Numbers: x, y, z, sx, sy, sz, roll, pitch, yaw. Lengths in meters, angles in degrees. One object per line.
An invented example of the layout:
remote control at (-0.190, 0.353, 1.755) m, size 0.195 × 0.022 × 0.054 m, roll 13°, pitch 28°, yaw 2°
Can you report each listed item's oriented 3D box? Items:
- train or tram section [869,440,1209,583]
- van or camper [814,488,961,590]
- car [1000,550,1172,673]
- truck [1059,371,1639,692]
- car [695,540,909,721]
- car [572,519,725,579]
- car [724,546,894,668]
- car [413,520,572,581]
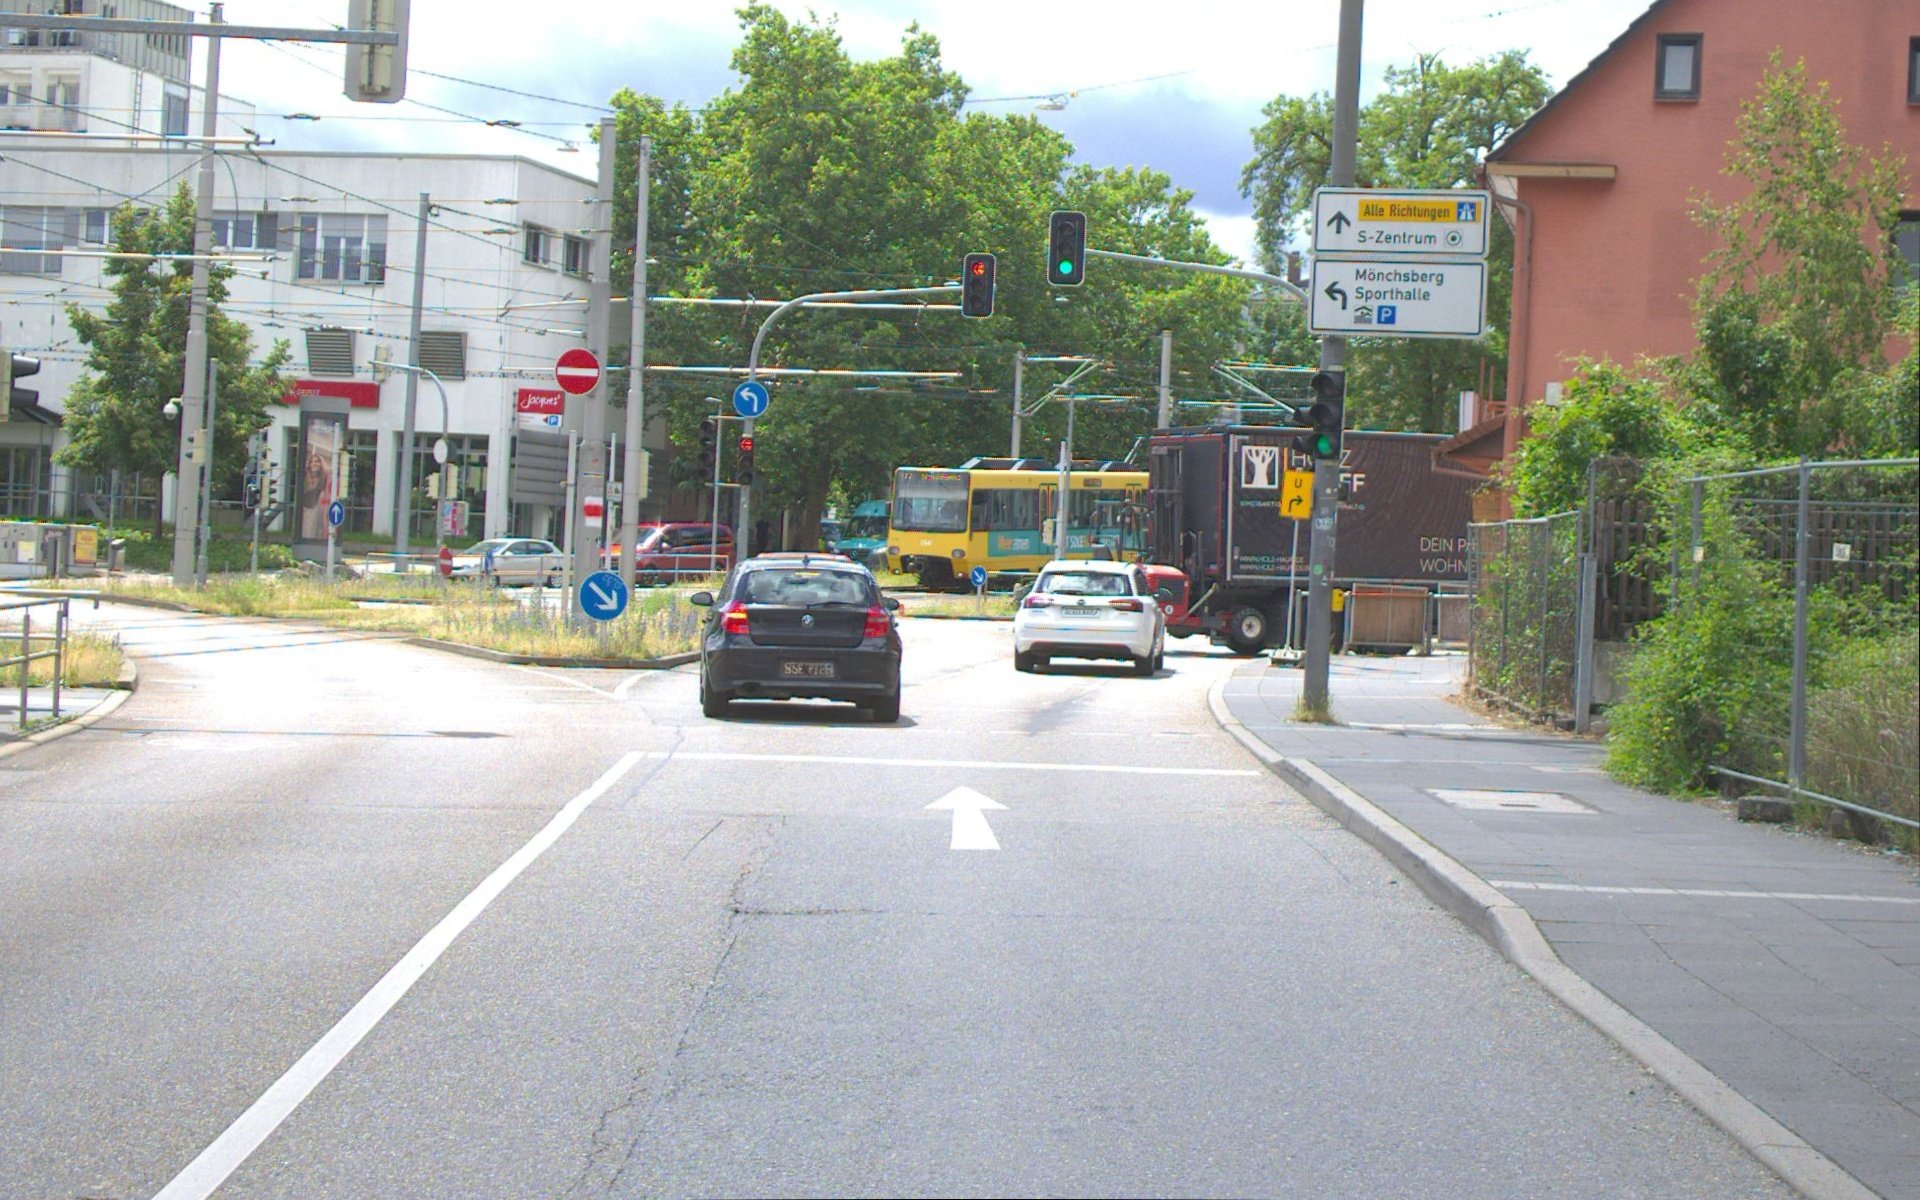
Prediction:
train or tram section at (2.740, -2.481, 102.842) m, size 2.701 × 3.738 × 18.335 m, roll 3°, pitch 1°, yaw 26°
van or camper at (-2.290, -1.927, 111.333) m, size 2.178 × 2.796 × 6.060 m, roll 4°, pitch -1°, yaw 24°
car at (1.735, 0.114, 46.004) m, size 1.888 × 1.460 × 4.068 m, roll 2°, pitch 2°, yaw 7°
truck at (6.514, -1.050, 57.148) m, size 8.996 × 4.520 × 3.214 m, roll 4°, pitch -1°, yaw -26°
car at (-1.479, 0.227, 31.005) m, size 1.726 × 1.451 × 3.809 m, roll 2°, pitch 1°, yaw -5°
car at (-9.076, -1.484, 100.392) m, size 1.998 × 1.595 × 4.189 m, roll 3°, pitch 1°, yaw 40°
car at (-1.847, 0.053, 43.086) m, size 1.712 × 1.388 × 3.808 m, roll 2°, pitch 1°, yaw 3°
car at (-12.959, -1.369, 95.373) m, size 1.998 × 1.459 × 3.990 m, roll 3°, pitch 0°, yaw 41°
